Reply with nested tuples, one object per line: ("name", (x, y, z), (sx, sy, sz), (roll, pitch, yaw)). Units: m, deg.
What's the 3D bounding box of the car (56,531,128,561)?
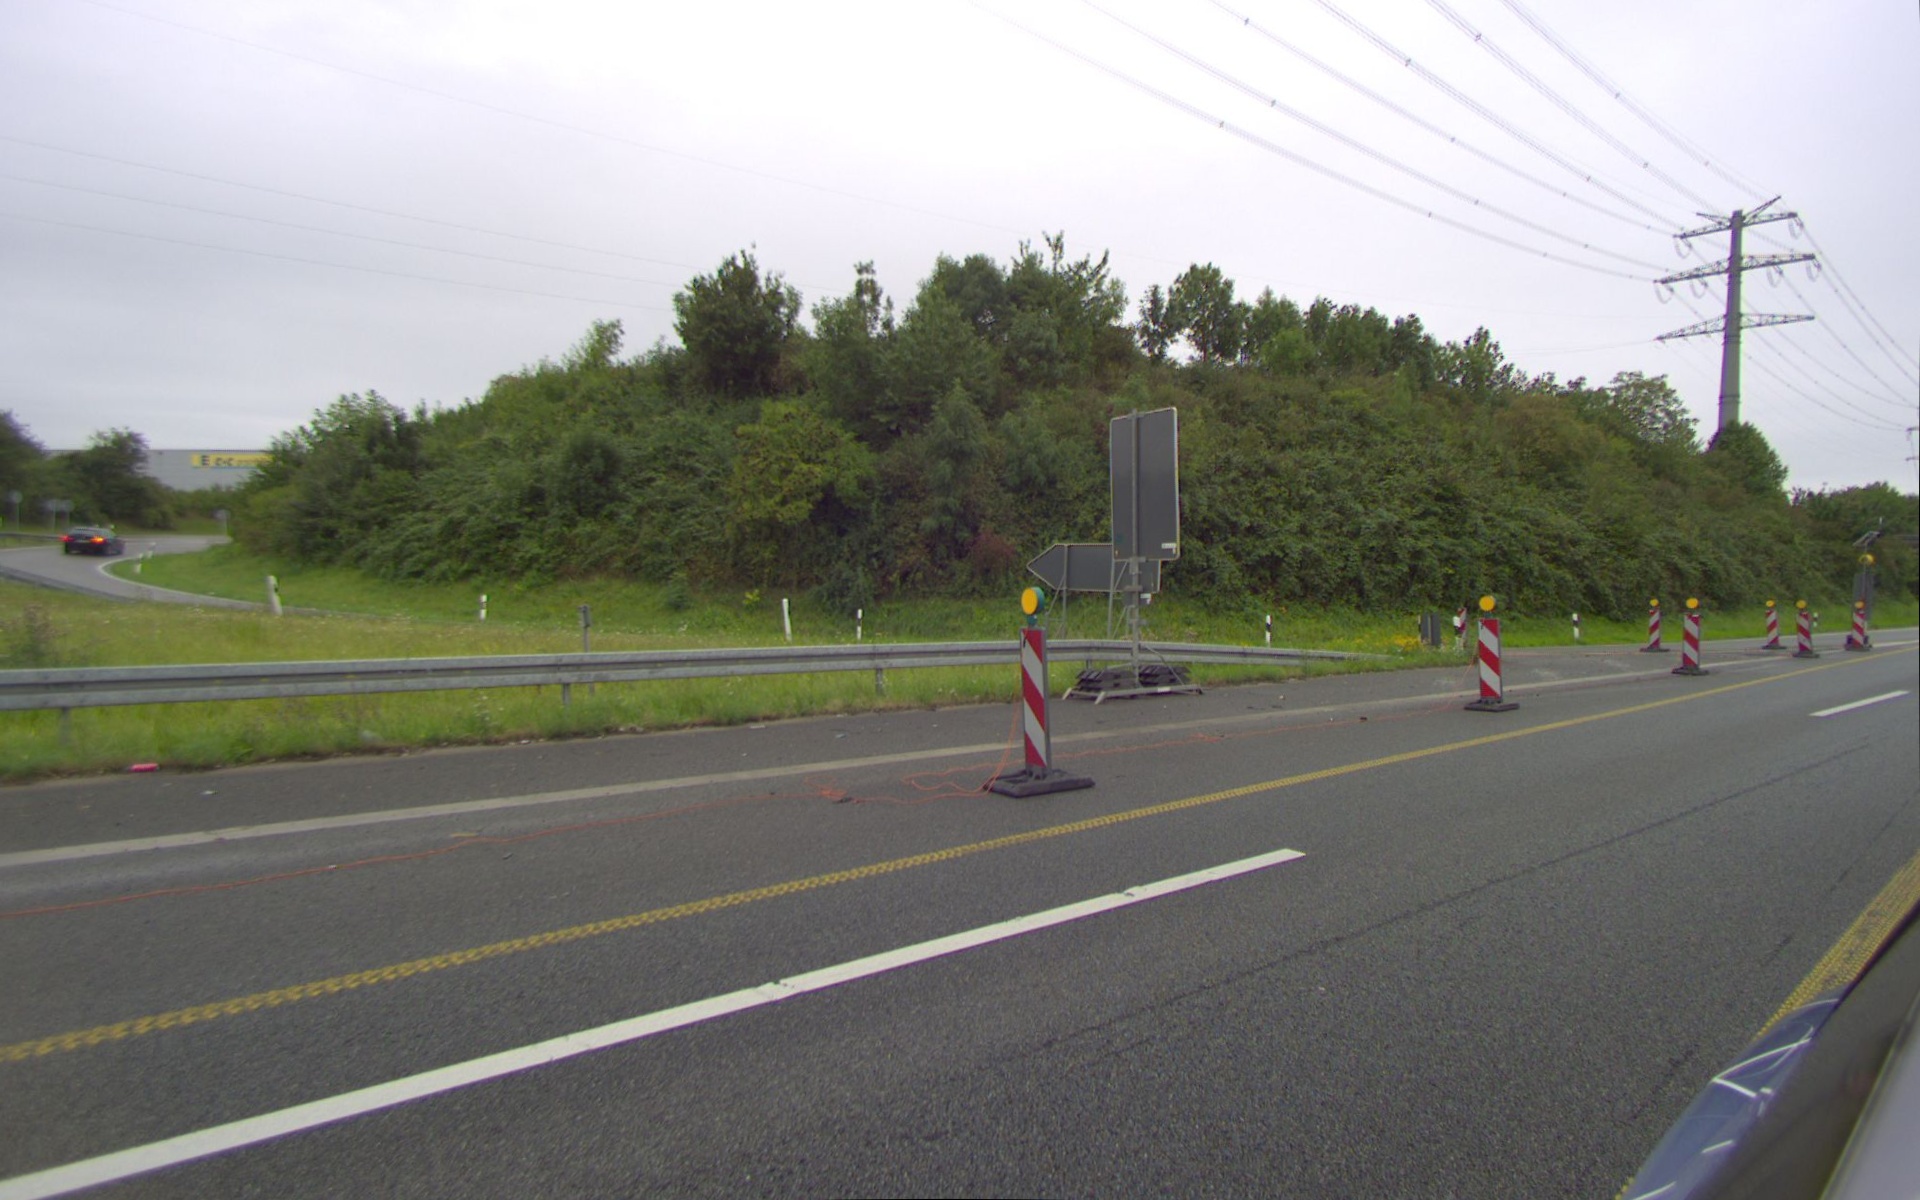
("car", (-47.296, -2.928, 55.261), (1.959, 1.466, 4.602), (1, 2, -27))
